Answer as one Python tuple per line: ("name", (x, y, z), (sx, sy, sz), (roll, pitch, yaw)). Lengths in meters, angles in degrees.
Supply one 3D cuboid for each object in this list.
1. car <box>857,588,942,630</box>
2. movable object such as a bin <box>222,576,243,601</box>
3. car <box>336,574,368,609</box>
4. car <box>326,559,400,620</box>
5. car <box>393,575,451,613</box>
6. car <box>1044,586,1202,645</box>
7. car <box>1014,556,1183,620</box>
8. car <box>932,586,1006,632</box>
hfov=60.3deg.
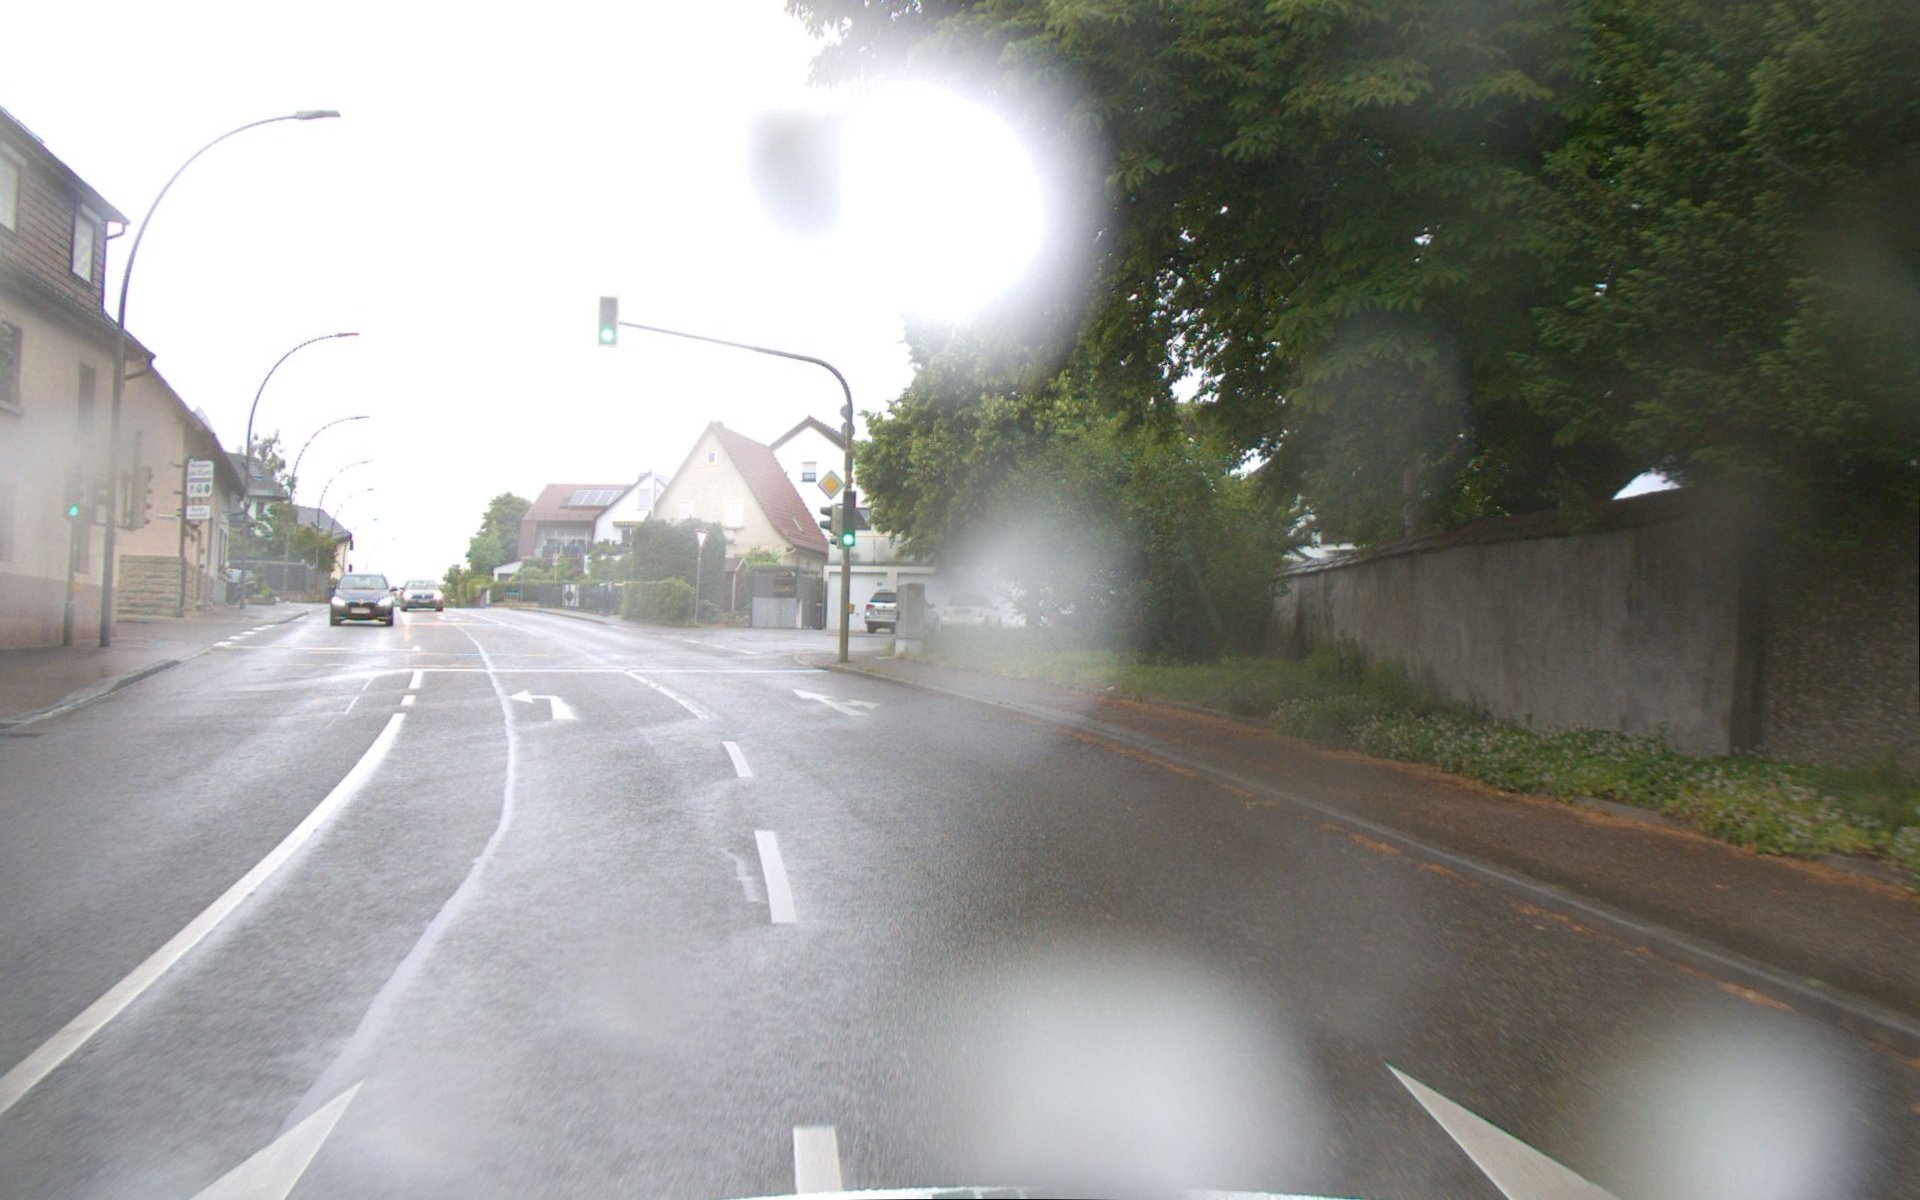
("car", (-2.123, 0.281, 59.153), (1.951, 1.422, 4.154), (0, 1, 14))
("movable object such as a bin", (-30.935, -0.480, 70.323), (0.626, 1.050, 0.672), (0, 0, -7))
("car", (-50.828, -0.687, 138.323), (2.062, 2.696, 5.888), (3, -2, -18))
("car", (-17.984, -0.333, 49.998), (1.963, 1.735, 3.979), (1, 1, -18))
("car", (-24.220, -0.285, 74.381), (1.920, 1.601, 4.191), (1, 1, -26))
("car", (4.504, 0.425, 46.131), (4.094, 1.467, 1.831), (2, 0, -6))
("car", (3.240, -0.288, 39.218), (3.904, 1.481, 1.855), (0, 0, 3))
("car", (0.359, 0.277, 58.821), (1.951, 1.556, 4.004), (0, 1, 10))
